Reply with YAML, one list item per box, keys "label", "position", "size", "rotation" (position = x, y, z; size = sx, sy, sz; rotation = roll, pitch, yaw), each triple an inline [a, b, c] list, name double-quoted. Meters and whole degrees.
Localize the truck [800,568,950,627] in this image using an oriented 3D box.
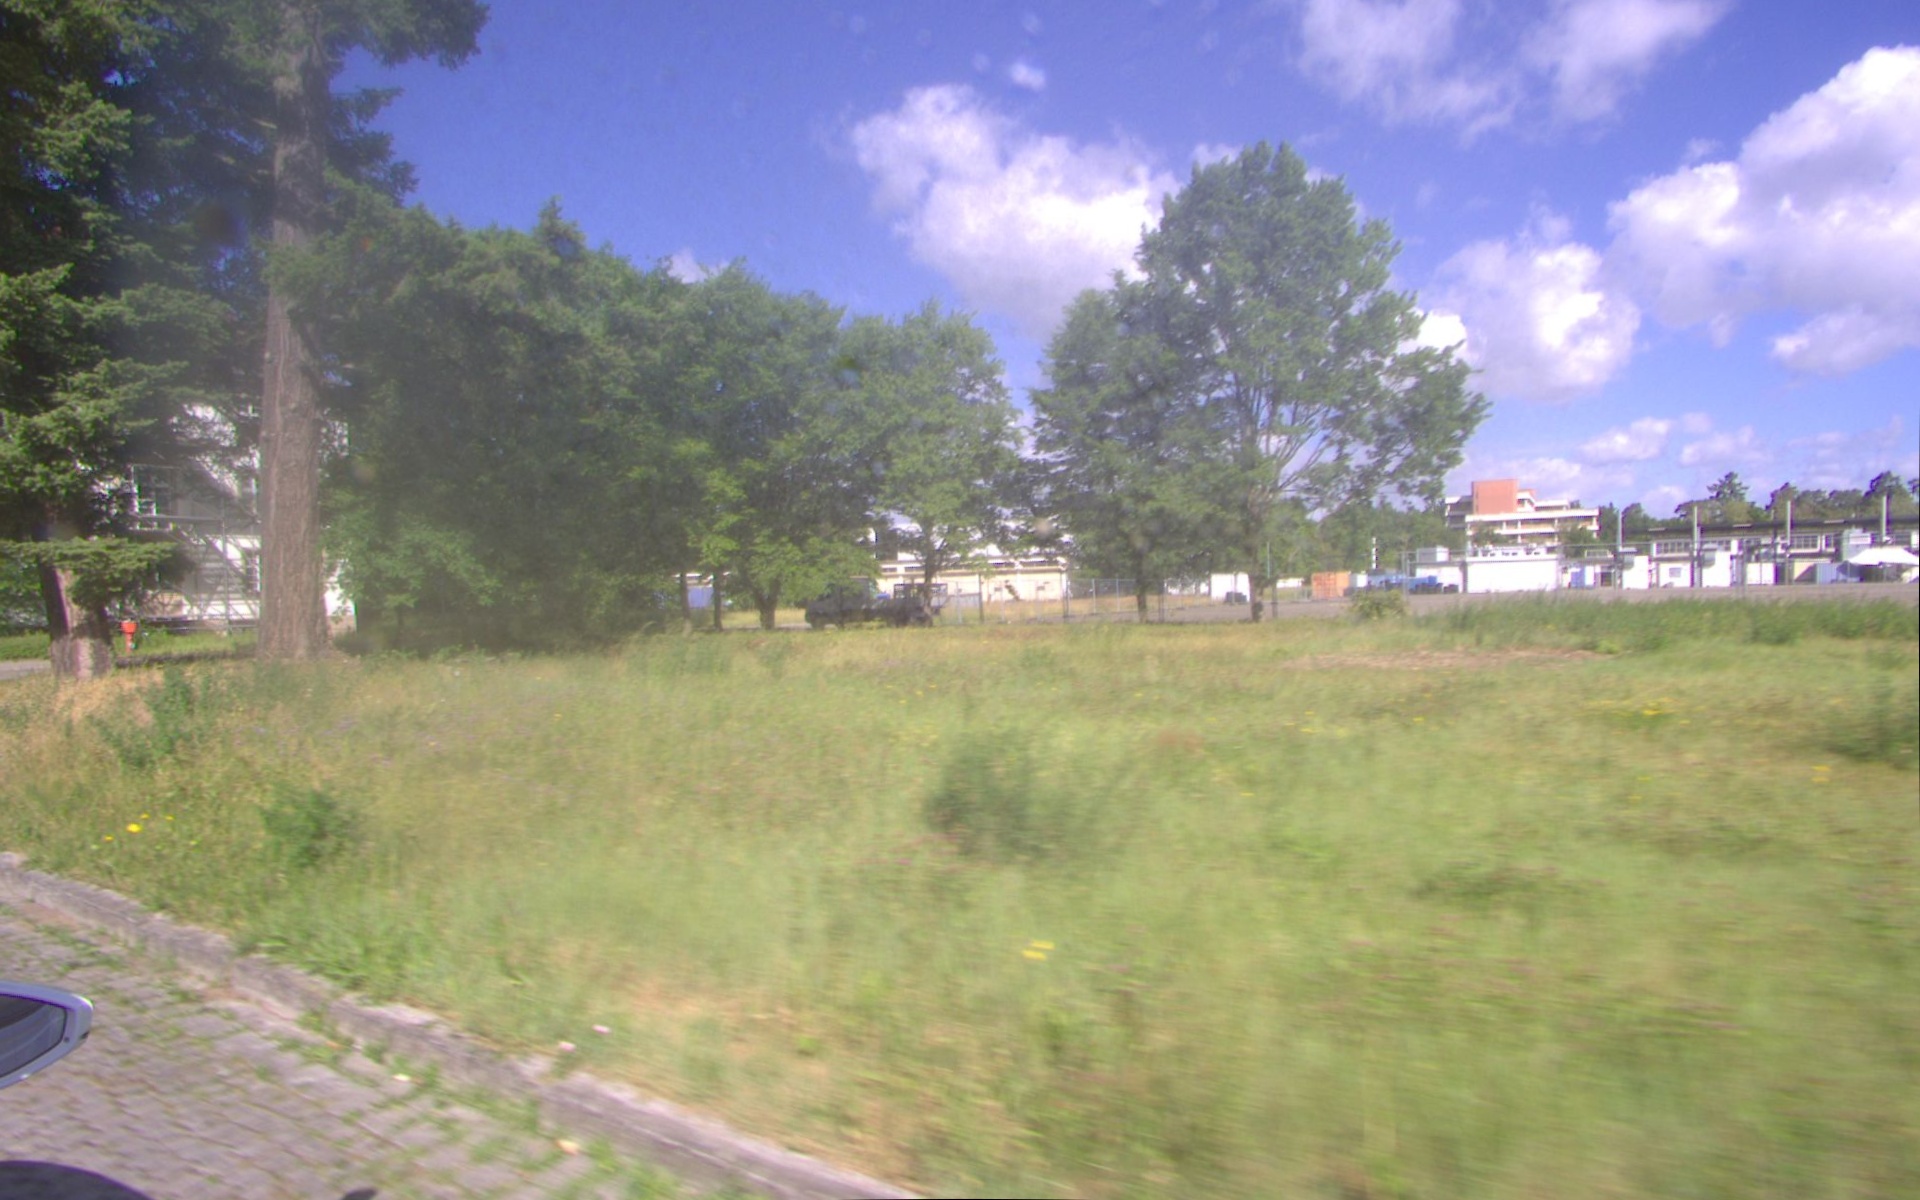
- label: "truck"
  position: [-3.882, -0.040, 45.056]
  size: [6.789, 2.455, 2.228]
  rotation: [-1, 0, 33]
